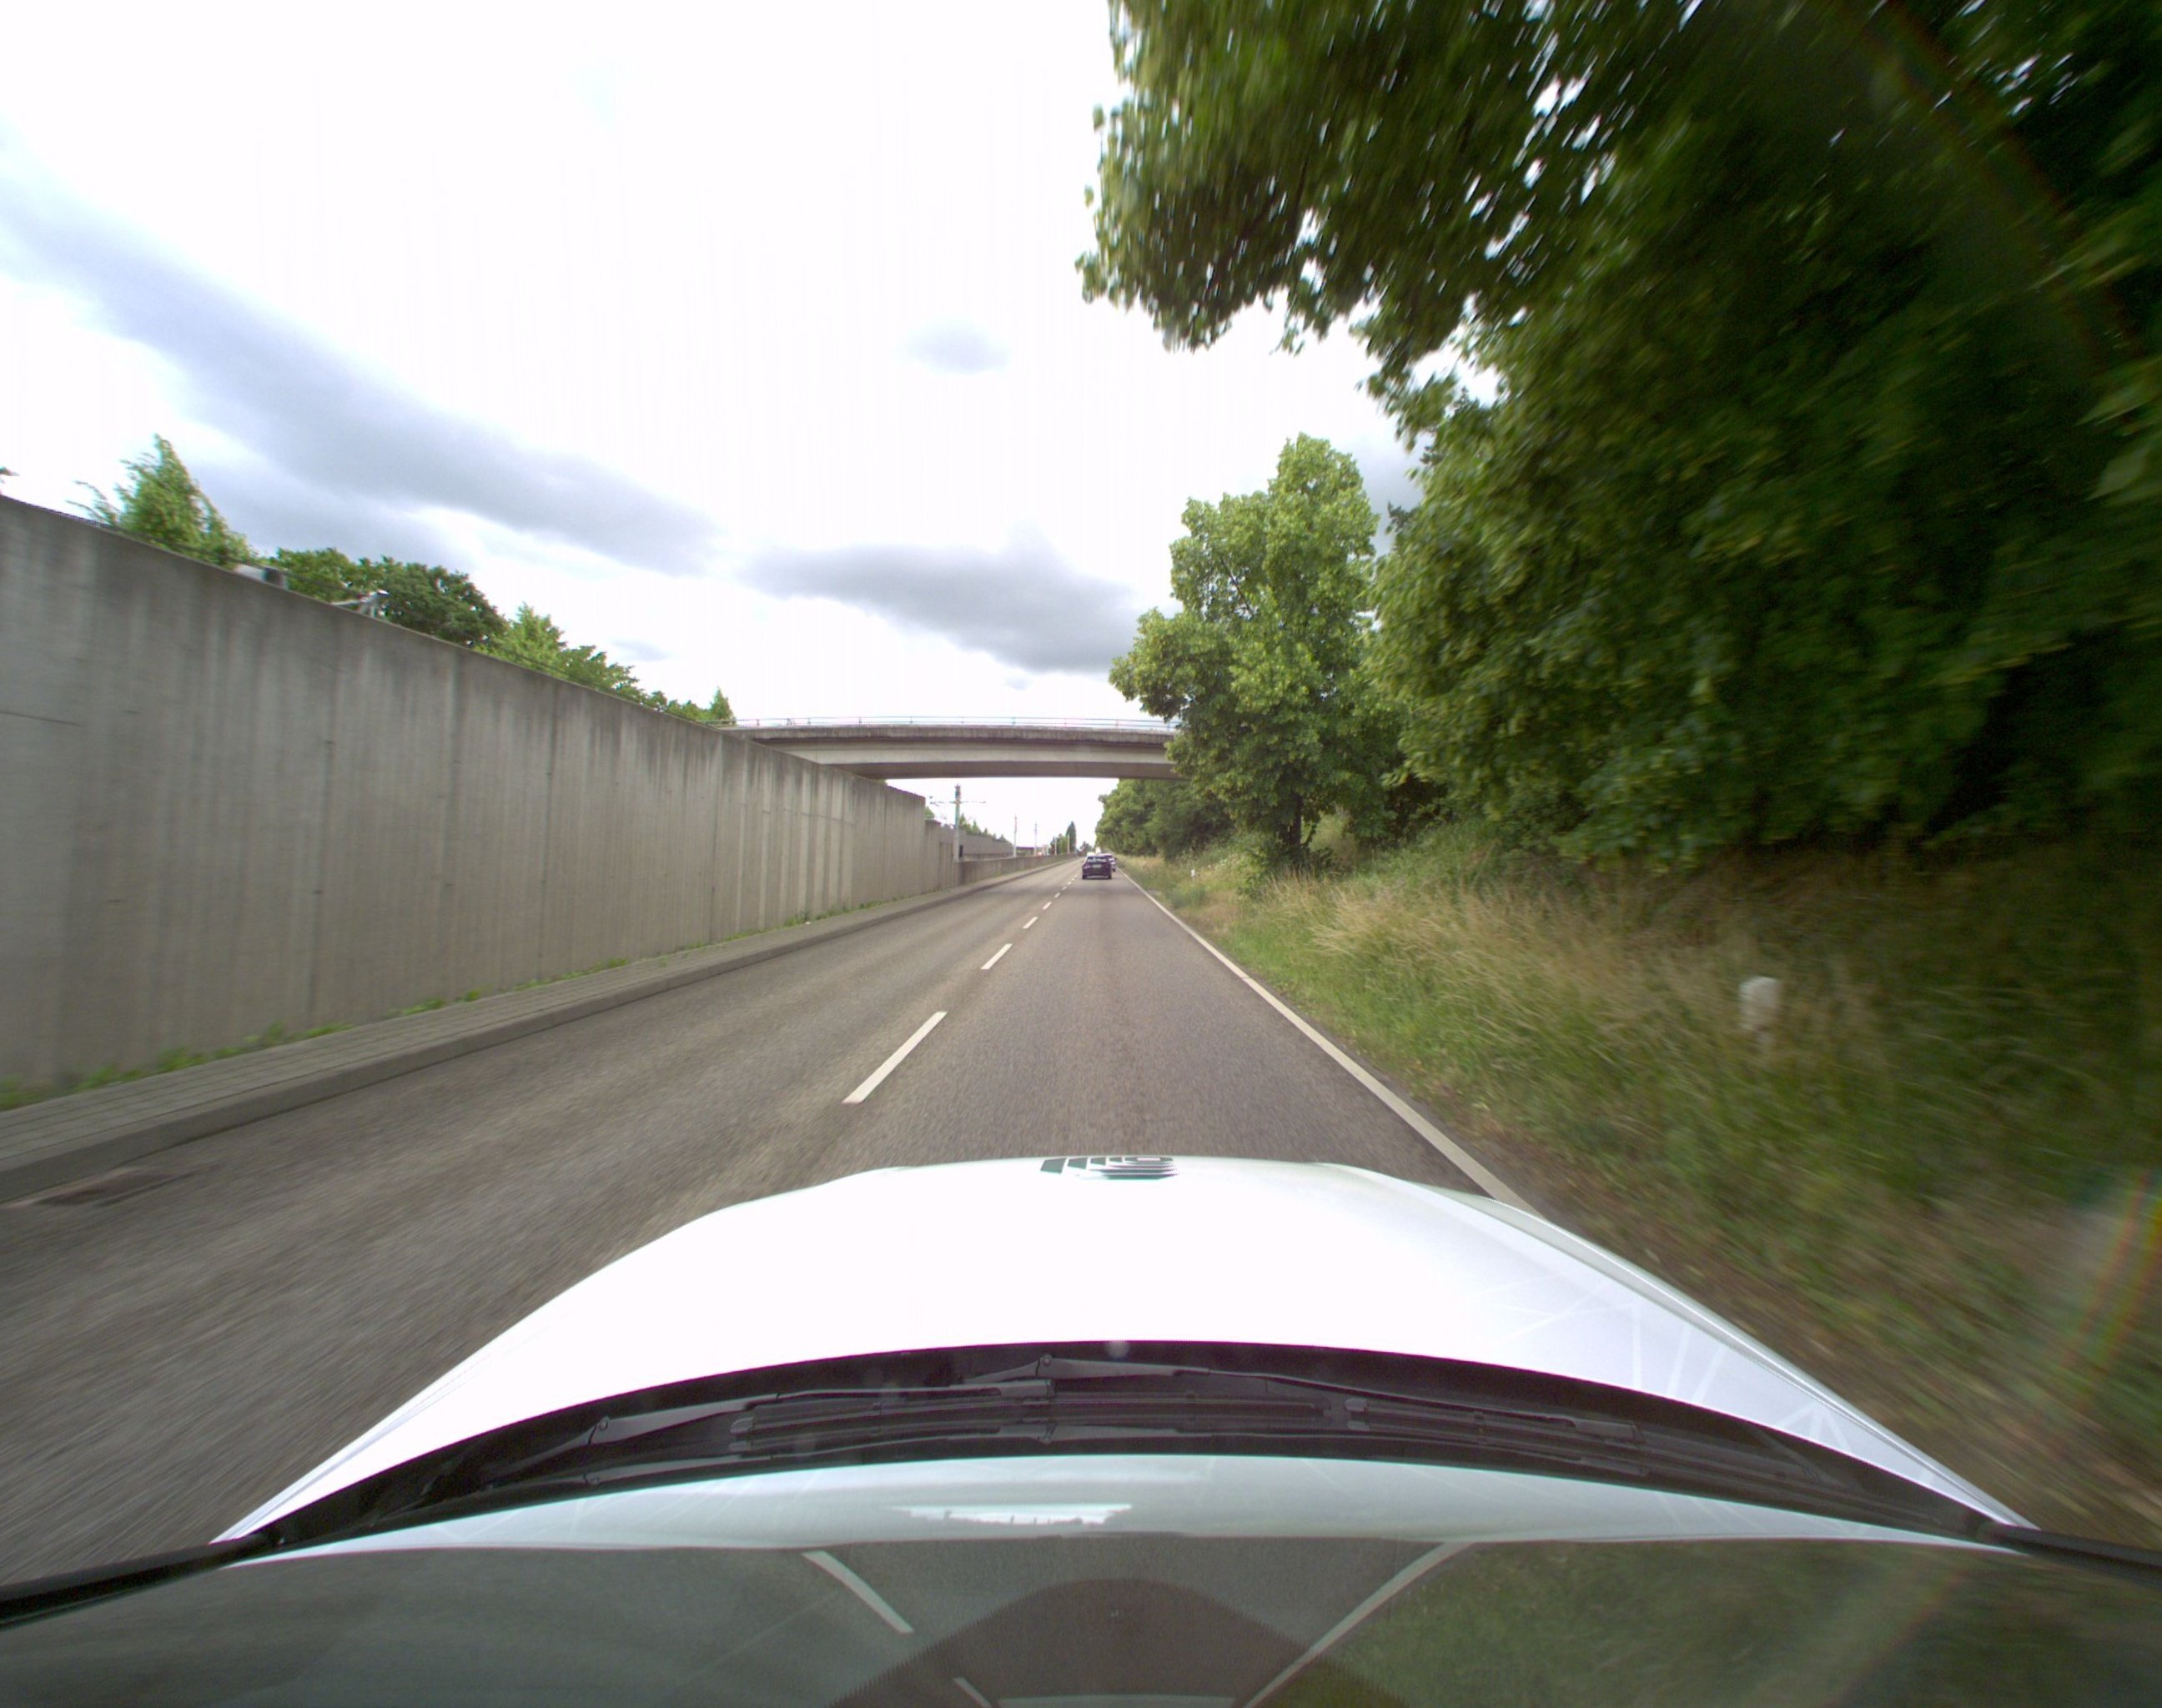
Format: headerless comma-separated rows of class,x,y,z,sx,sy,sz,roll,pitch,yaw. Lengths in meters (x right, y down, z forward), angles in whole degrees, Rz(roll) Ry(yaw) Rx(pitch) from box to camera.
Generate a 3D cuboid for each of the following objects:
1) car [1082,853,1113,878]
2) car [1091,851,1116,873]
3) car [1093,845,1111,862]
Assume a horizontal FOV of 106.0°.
car,0.999,0.668,49.024,1.775,1.468,4.001,0,0,1
car,1.872,0.670,67.020,1.986,1.753,4.001,0,0,1
car,2.340,-0.038,90.930,1.986,1.740,4.001,0,-1,1
